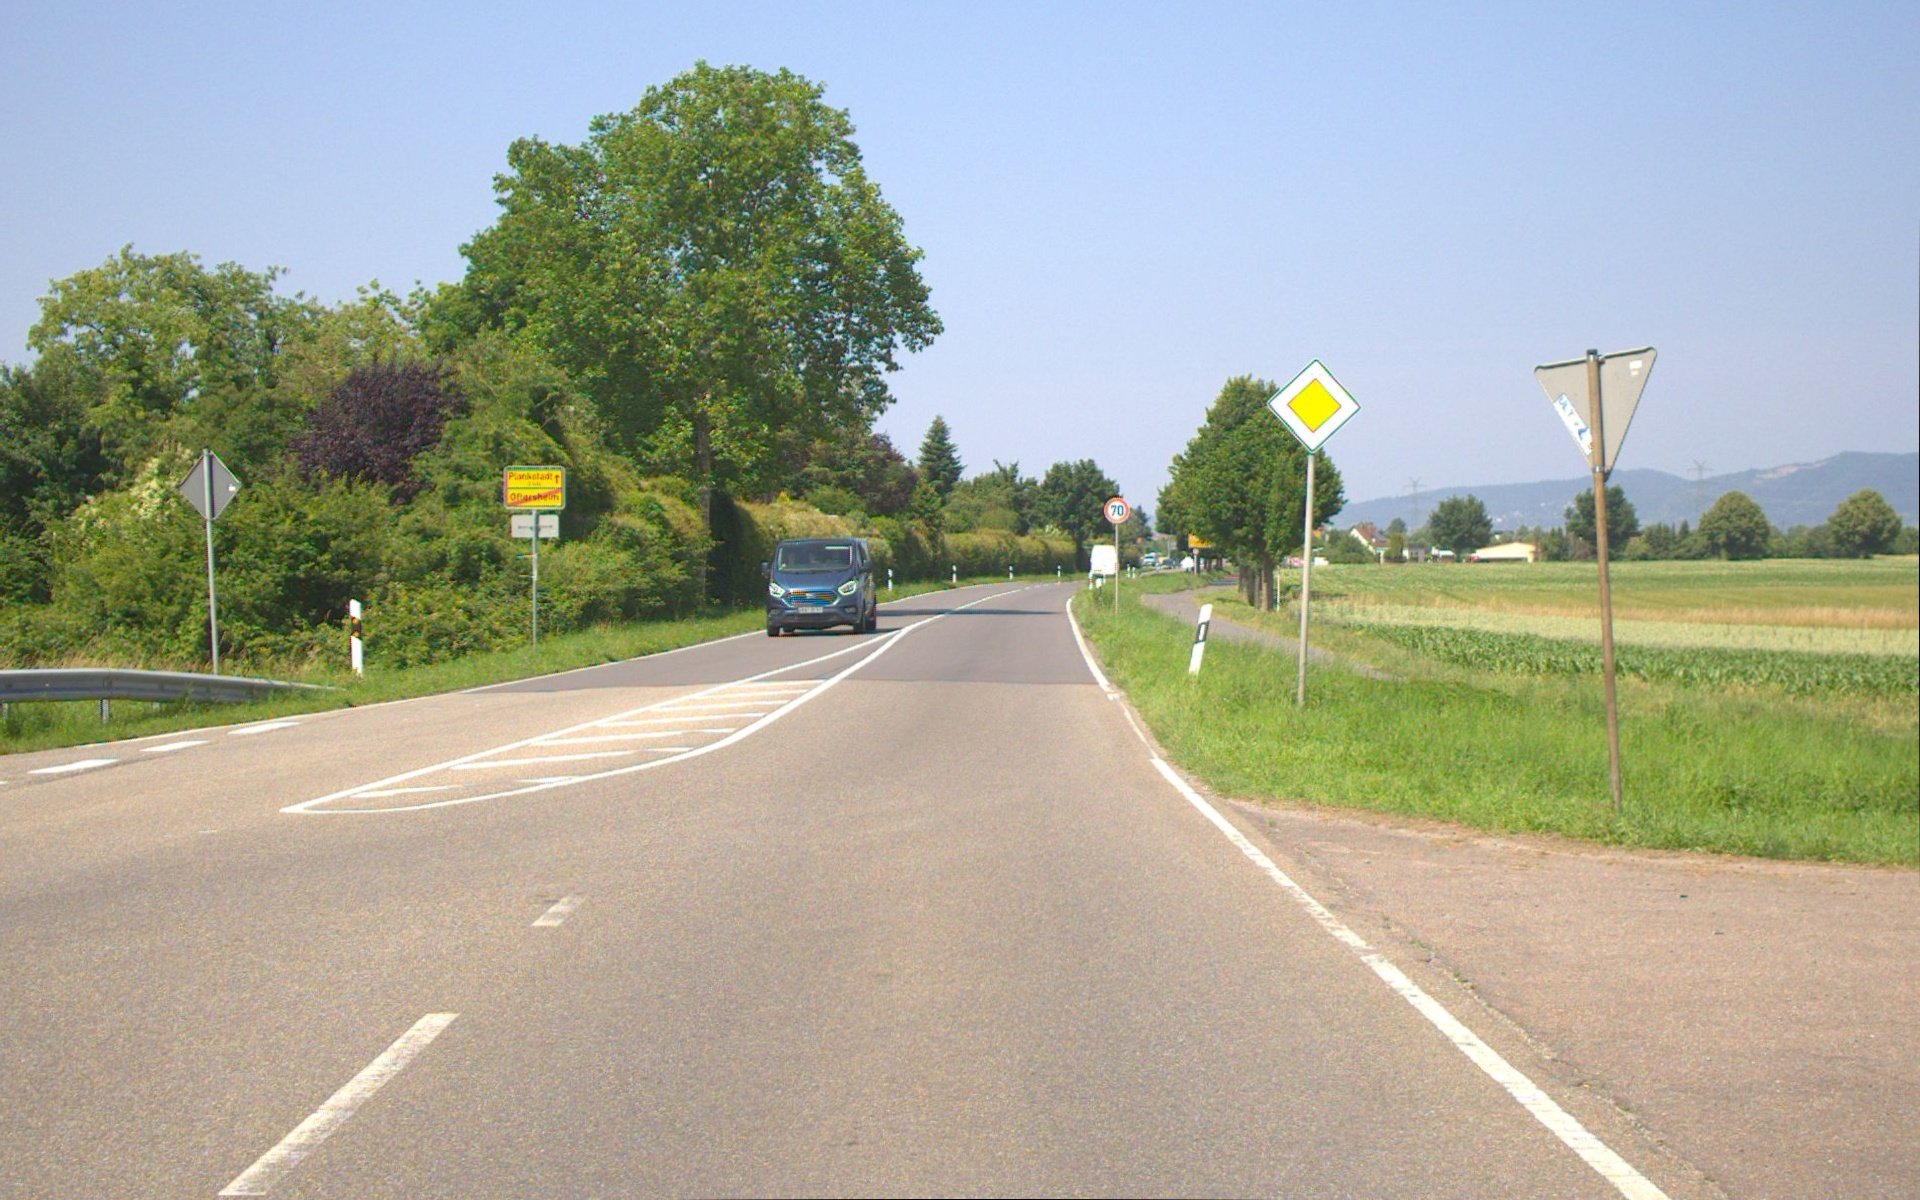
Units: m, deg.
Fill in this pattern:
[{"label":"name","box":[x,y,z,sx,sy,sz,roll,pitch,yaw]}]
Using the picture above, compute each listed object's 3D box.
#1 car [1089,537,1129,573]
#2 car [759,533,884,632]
[{"label":"car","box":[11.064,-3.345,254.977,1.995,2.642,3.997,-1,1,17]},{"label":"car","box":[-2.807,-0.394,71.020,2.144,1.944,5.247,-1,1,2]}]
